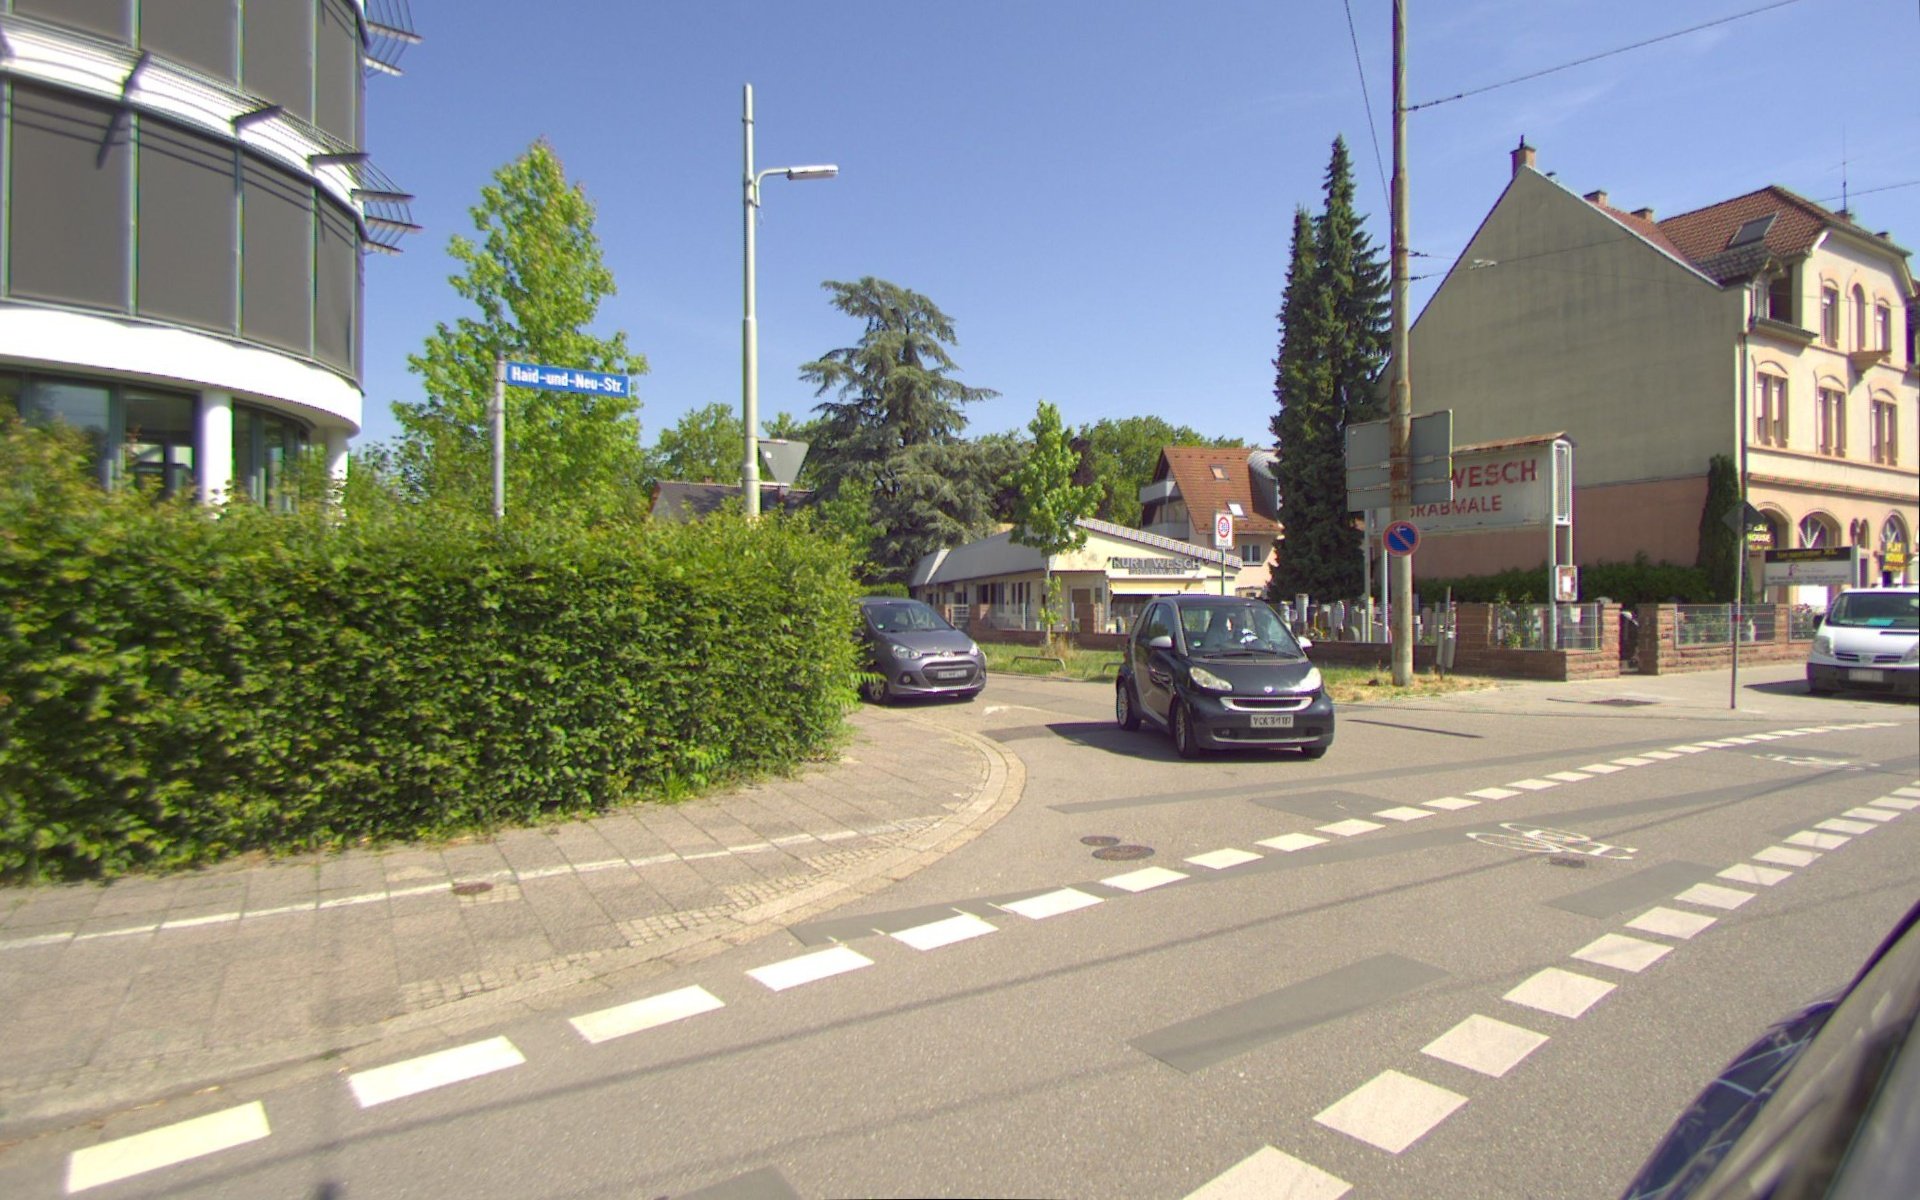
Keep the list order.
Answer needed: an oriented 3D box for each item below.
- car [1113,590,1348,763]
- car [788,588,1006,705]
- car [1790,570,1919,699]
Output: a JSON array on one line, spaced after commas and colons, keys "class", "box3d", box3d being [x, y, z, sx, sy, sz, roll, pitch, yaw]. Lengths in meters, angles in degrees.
[{"class": "car", "box3d": [2.696, 0.684, 10.703, 1.449, 1.558, 2.979, 0, 0, -5]}, {"class": "car", "box3d": [-1.071, 0.624, 15.335, 1.672, 1.547, 3.696, 0, -1, -34]}, {"class": "car", "box3d": [16.936, 0.539, 17.823, 4.811, 2.039, 2.092, 0, 1, -31]}]
